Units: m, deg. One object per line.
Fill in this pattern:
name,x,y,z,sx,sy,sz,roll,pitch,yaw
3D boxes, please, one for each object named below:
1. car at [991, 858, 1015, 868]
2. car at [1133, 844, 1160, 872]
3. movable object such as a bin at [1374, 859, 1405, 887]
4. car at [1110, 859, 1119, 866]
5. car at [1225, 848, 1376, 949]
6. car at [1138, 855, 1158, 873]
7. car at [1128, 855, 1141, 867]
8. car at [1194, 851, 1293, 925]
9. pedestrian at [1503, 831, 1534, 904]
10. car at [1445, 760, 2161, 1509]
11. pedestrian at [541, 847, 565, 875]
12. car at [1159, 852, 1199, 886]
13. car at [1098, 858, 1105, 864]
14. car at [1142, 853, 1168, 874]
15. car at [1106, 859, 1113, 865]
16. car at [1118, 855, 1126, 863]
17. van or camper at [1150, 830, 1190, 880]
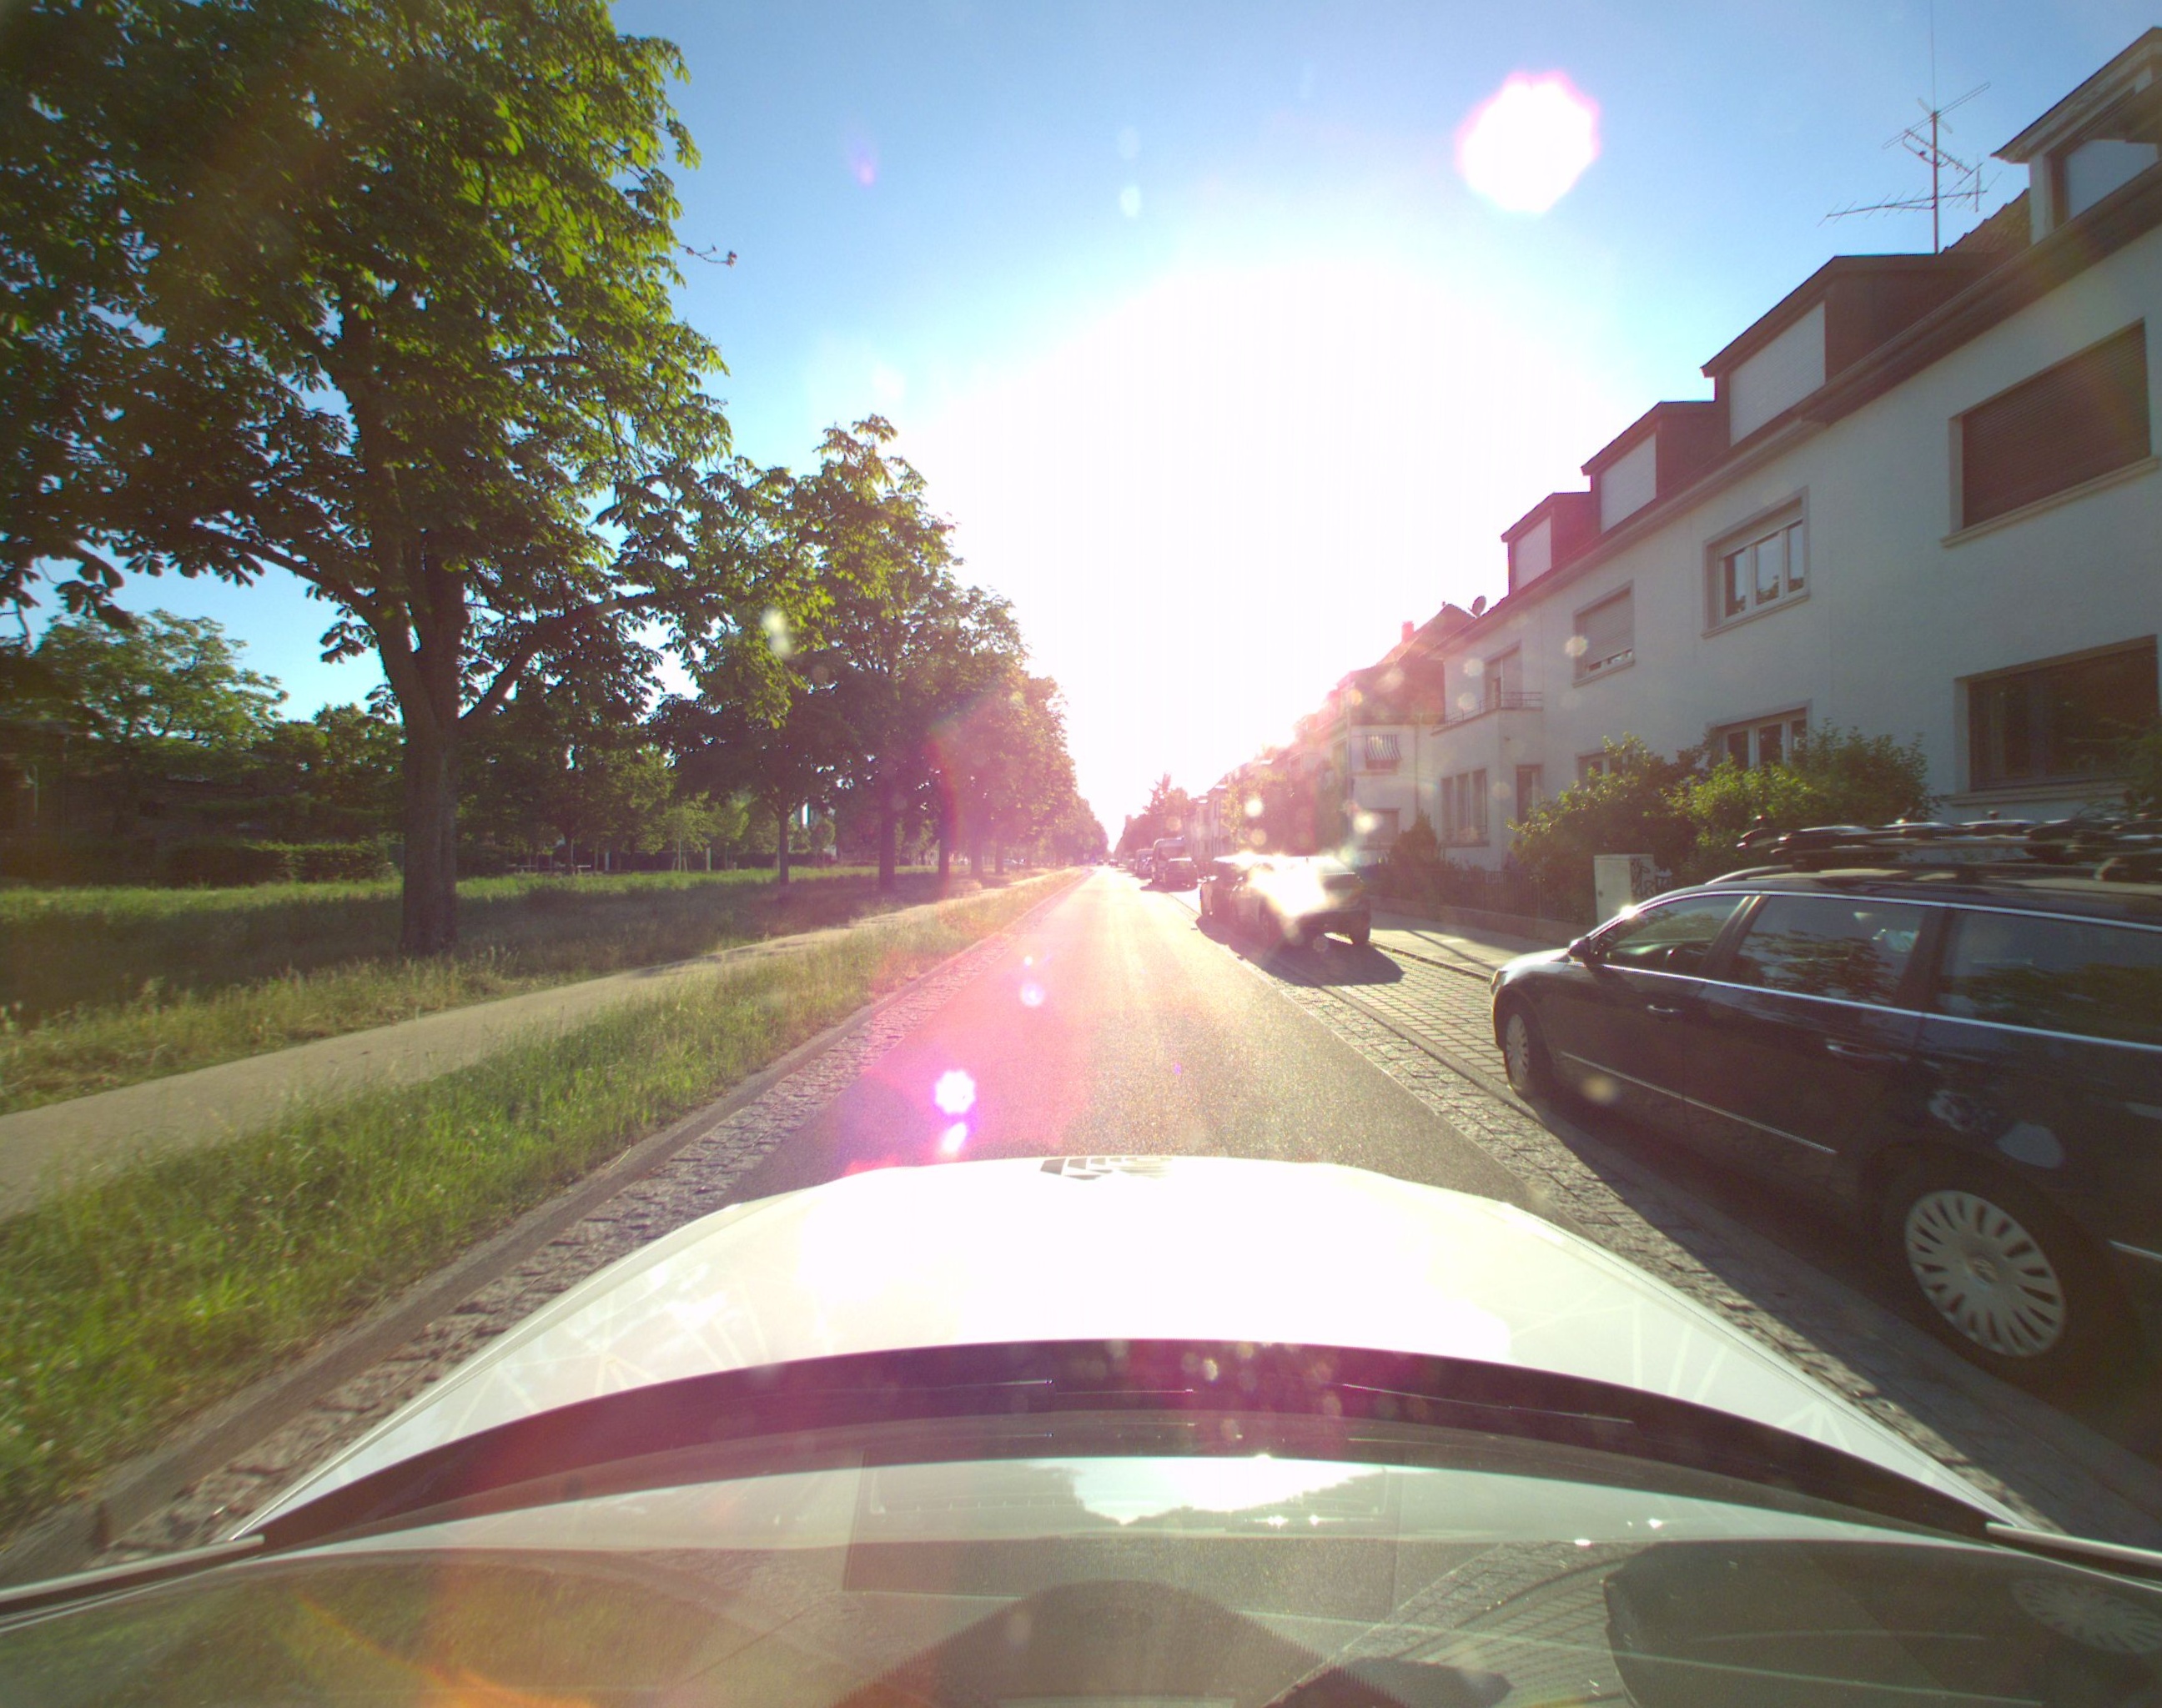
car,-14.598,1.630,152.137,4.341,1.764,1.995,1,-1,-7
car,6.289,0.373,78.709,2.119,2.532,5.188,-2,0,0
movable object such as a bin,12.427,0.755,32.829,0.980,1.100,0.790,1,-1,6
car,7.631,1.941,184.714,1.856,1.597,3.894,1,-1,1
car,3.958,0.752,15.408,1.712,1.574,4.210,-3,-1,1
car,5.940,0.862,72.626,1.643,1.530,3.854,-2,0,3
car,7.223,0.987,110.410,1.643,1.530,3.854,-2,0,3
car,4.104,0.782,21.243,1.825,1.685,4.418,1,0,2
pedestrian,9.643,0.293,17.971,0.589,1.578,0.634,0,-1,28
car,3.482,0.631,3.626,1.787,1.771,4.474,-3,0,2
pedestrian,-36.614,0.479,56.465,1.044,1.881,0.798,1,-1,4
car,5.033,0.733,42.114,1.657,1.593,4.088,-3,-1,2
car,5.849,1.915,230.393,1.856,1.597,3.871,1,-1,1
car,6.071,0.770,67.259,1.831,1.636,4.131,-2,0,1
car,7.655,2.197,216.856,1.856,1.597,3.871,1,-1,1
car,8.326,0.968,166.249,1.643,1.530,3.854,-1,0,3
van or camper,5.202,0.086,48.384,1.936,2.777,5.943,1,-1,2
